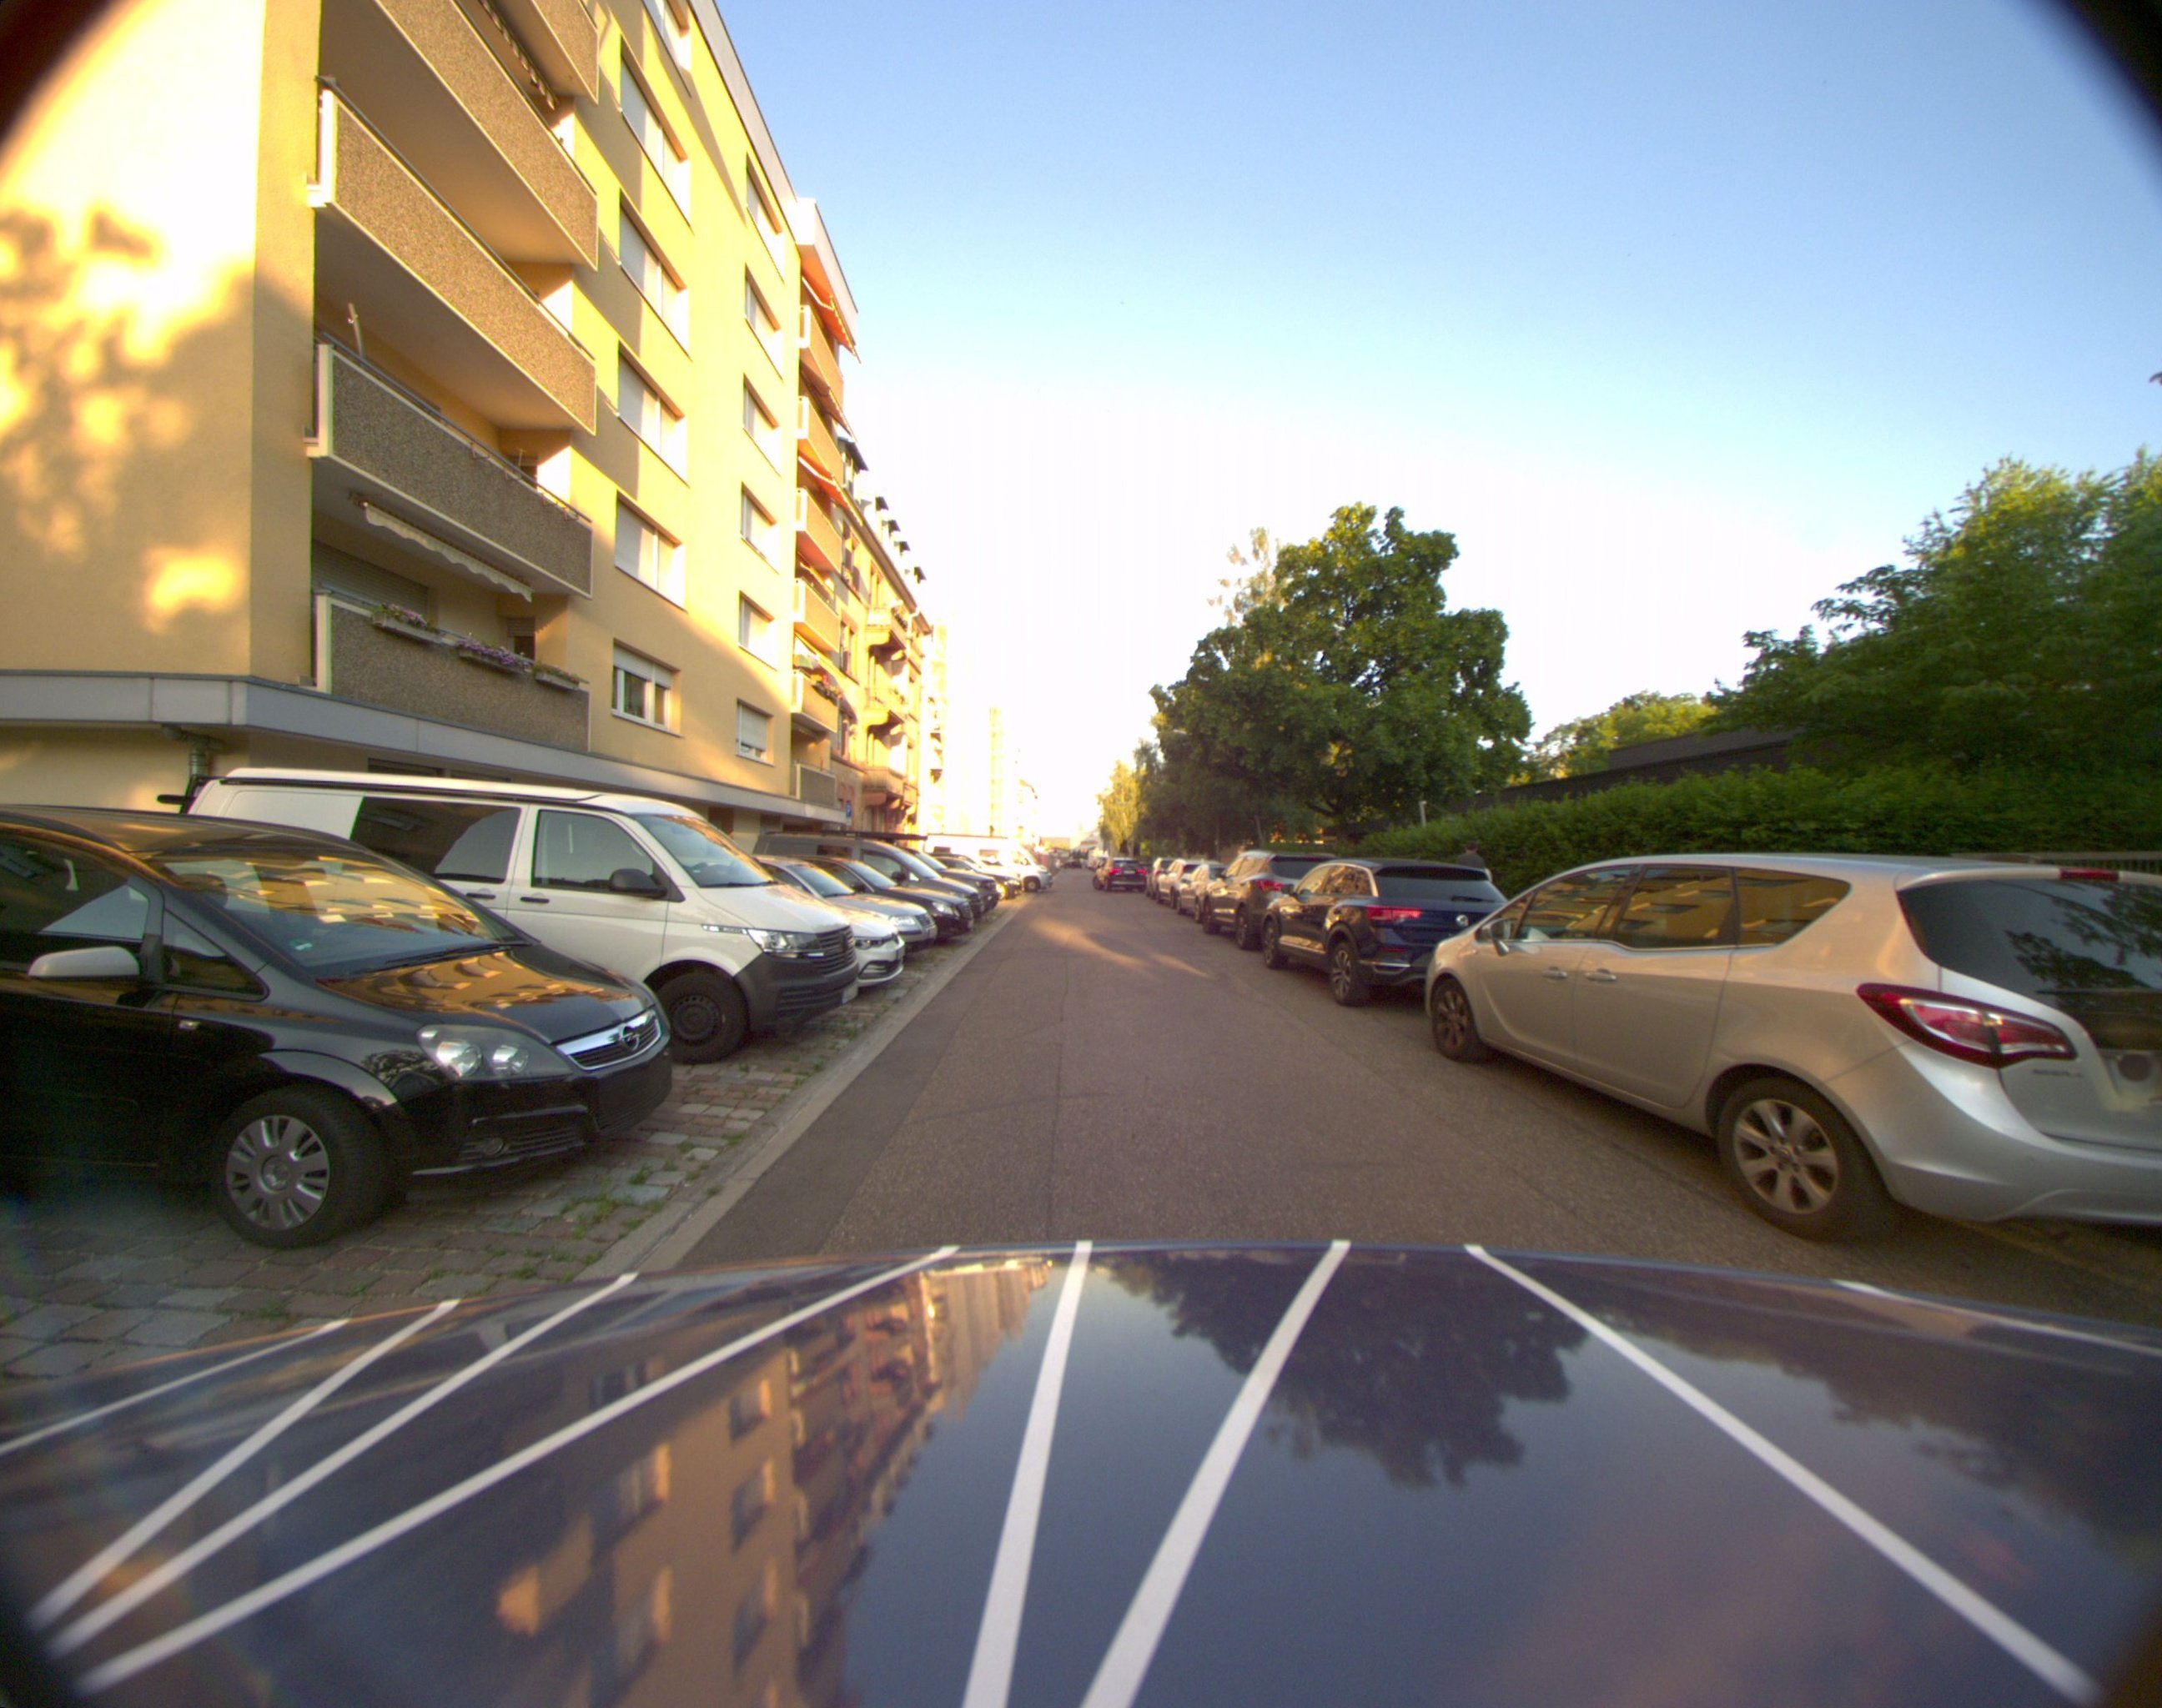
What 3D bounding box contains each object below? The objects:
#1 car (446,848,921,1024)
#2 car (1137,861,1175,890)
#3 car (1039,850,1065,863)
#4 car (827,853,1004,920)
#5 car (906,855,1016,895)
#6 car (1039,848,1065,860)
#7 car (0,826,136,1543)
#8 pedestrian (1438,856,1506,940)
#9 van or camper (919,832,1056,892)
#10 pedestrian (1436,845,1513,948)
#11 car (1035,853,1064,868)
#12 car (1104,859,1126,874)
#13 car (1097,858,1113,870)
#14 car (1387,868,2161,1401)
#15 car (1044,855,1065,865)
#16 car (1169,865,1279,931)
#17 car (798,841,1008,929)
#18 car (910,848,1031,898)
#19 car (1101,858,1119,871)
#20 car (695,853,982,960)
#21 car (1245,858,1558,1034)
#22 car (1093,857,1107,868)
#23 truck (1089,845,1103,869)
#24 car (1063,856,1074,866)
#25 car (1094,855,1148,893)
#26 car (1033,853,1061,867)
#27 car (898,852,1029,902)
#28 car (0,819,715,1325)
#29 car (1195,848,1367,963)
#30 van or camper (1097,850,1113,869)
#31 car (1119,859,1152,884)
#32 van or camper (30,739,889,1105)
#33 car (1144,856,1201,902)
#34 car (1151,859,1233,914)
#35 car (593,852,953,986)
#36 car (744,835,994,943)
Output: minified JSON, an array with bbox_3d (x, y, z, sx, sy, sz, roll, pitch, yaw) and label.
[{"bbox_3d":[-4.249,0.832,8.667,4.415,1.622,1.845,2,2,-1],"label":"car"},{"bbox_3d":[3.997,1.114,40.930,1.624,1.417,3.415,2,0,0],"label":"car"},{"bbox_3d":[-4.491,0.319,118.268,3.997,2.002,2.000,0,0,-1],"label":"car"},{"bbox_3d":[-4.457,0.855,20.897,4.414,1.545,1.845,2,2,2],"label":"car"},{"bbox_3d":[-5.090,0.876,32.701,4.414,1.610,1.845,0,2,1],"label":"car"},{"bbox_3d":[-4.608,0.006,121.420,3.997,2.002,2.000,0,0,-1],"label":"car"},{"bbox_3d":[-4.641,0.675,0.959,4.416,1.652,1.844,3,2,-3],"label":"car"},{"bbox_3d":[7.359,0.807,14.344,0.750,1.499,0.901,-2,0,-2],"label":"pedestrian"},{"bbox_3d":[-4.275,0.356,35.559,6.075,2.489,2.050,2,0,0],"label":"van or camper"},{"bbox_3d":[6.875,0.726,13.320,0.901,1.722,0.750,-2,0,-2],"label":"pedestrian"},{"bbox_3d":[-4.485,0.921,107.219,3.997,2.002,2.000,0,0,-1],"label":"car"},{"bbox_3d":[3.182,1.173,72.121,1.738,1.358,4.291,2,0,-1],"label":"car"},{"bbox_3d":[3.008,1.235,96.109,1.738,1.502,4.291,2,0,-1],"label":"car"},{"bbox_3d":[3.593,0.918,4.411,1.738,1.558,4.128,2,0,-3],"label":"car"},{"bbox_3d":[-5.208,1.171,150.690,3.997,2.002,2.000,0,0,-1],"label":"car"},{"bbox_3d":[3.528,1.044,19.537,1.738,1.418,4.286,2,0,-3],"label":"car"},{"bbox_3d":[-4.129,0.701,18.190,4.524,1.852,1.845,2,0,-1],"label":"car"},{"bbox_3d":[-4.332,0.717,30.170,4.413,1.738,1.846,2,1,3],"label":"car"},{"bbox_3d":[3.432,1.240,90.364,1.738,1.358,4.291,2,0,-1],"label":"car"},{"bbox_3d":[-4.086,0.857,13.351,4.415,1.554,1.845,2,2,-1],"label":"car"},{"bbox_3d":[3.395,0.864,9.038,1.738,1.558,4.166,2,0,-3],"label":"car"},{"bbox_3d":[2.734,1.263,110.925,1.738,1.502,4.291,2,0,-1],"label":"car"},{"bbox_3d":[2.545,0.514,128.866,2.183,3.860,4.926,0,0,0],"label":"truck"},{"bbox_3d":[-2.161,1.212,131.876,1.738,1.502,4.291,2,0,-1],"label":"car"},{"bbox_3d":[1.824,0.910,36.210,1.739,1.621,4.122,2,0,-9],"label":"car"},{"bbox_3d":[-4.865,0.918,109.763,3.997,2.002,2.000,0,0,-1],"label":"car"},{"bbox_3d":[-4.181,0.817,27.604,4.414,1.545,1.845,2,2,0],"label":"car"},{"bbox_3d":[-4.345,0.758,3.548,4.338,1.652,1.780,3,2,-3],"label":"car"},{"bbox_3d":[3.419,0.806,13.869,1.738,1.720,4.322,2,0,-3],"label":"car"},{"bbox_3d":[3.142,0.760,101.722,1.825,2.400,4.291,2,0,-1],"label":"van or camper"},{"bbox_3d":[3.324,1.033,47.109,1.738,1.438,3.805,2,0,0],"label":"car"},{"bbox_3d":[-4.455,0.485,6.215,5.147,2.155,2.039,4,1,-2],"label":"van or camper"},{"bbox_3d":[3.511,0.924,29.835,1.738,1.621,3.980,2,0,0],"label":"car"},{"bbox_3d":[3.460,0.976,24.443,1.764,1.534,4.279,2,0,-3],"label":"car"},{"bbox_3d":[-4.224,0.859,10.961,4.415,1.584,1.845,2,2,-1],"label":"car"},{"bbox_3d":[-4.280,0.665,15.872,4.649,1.970,1.845,2,2,-1],"label":"car"}]
